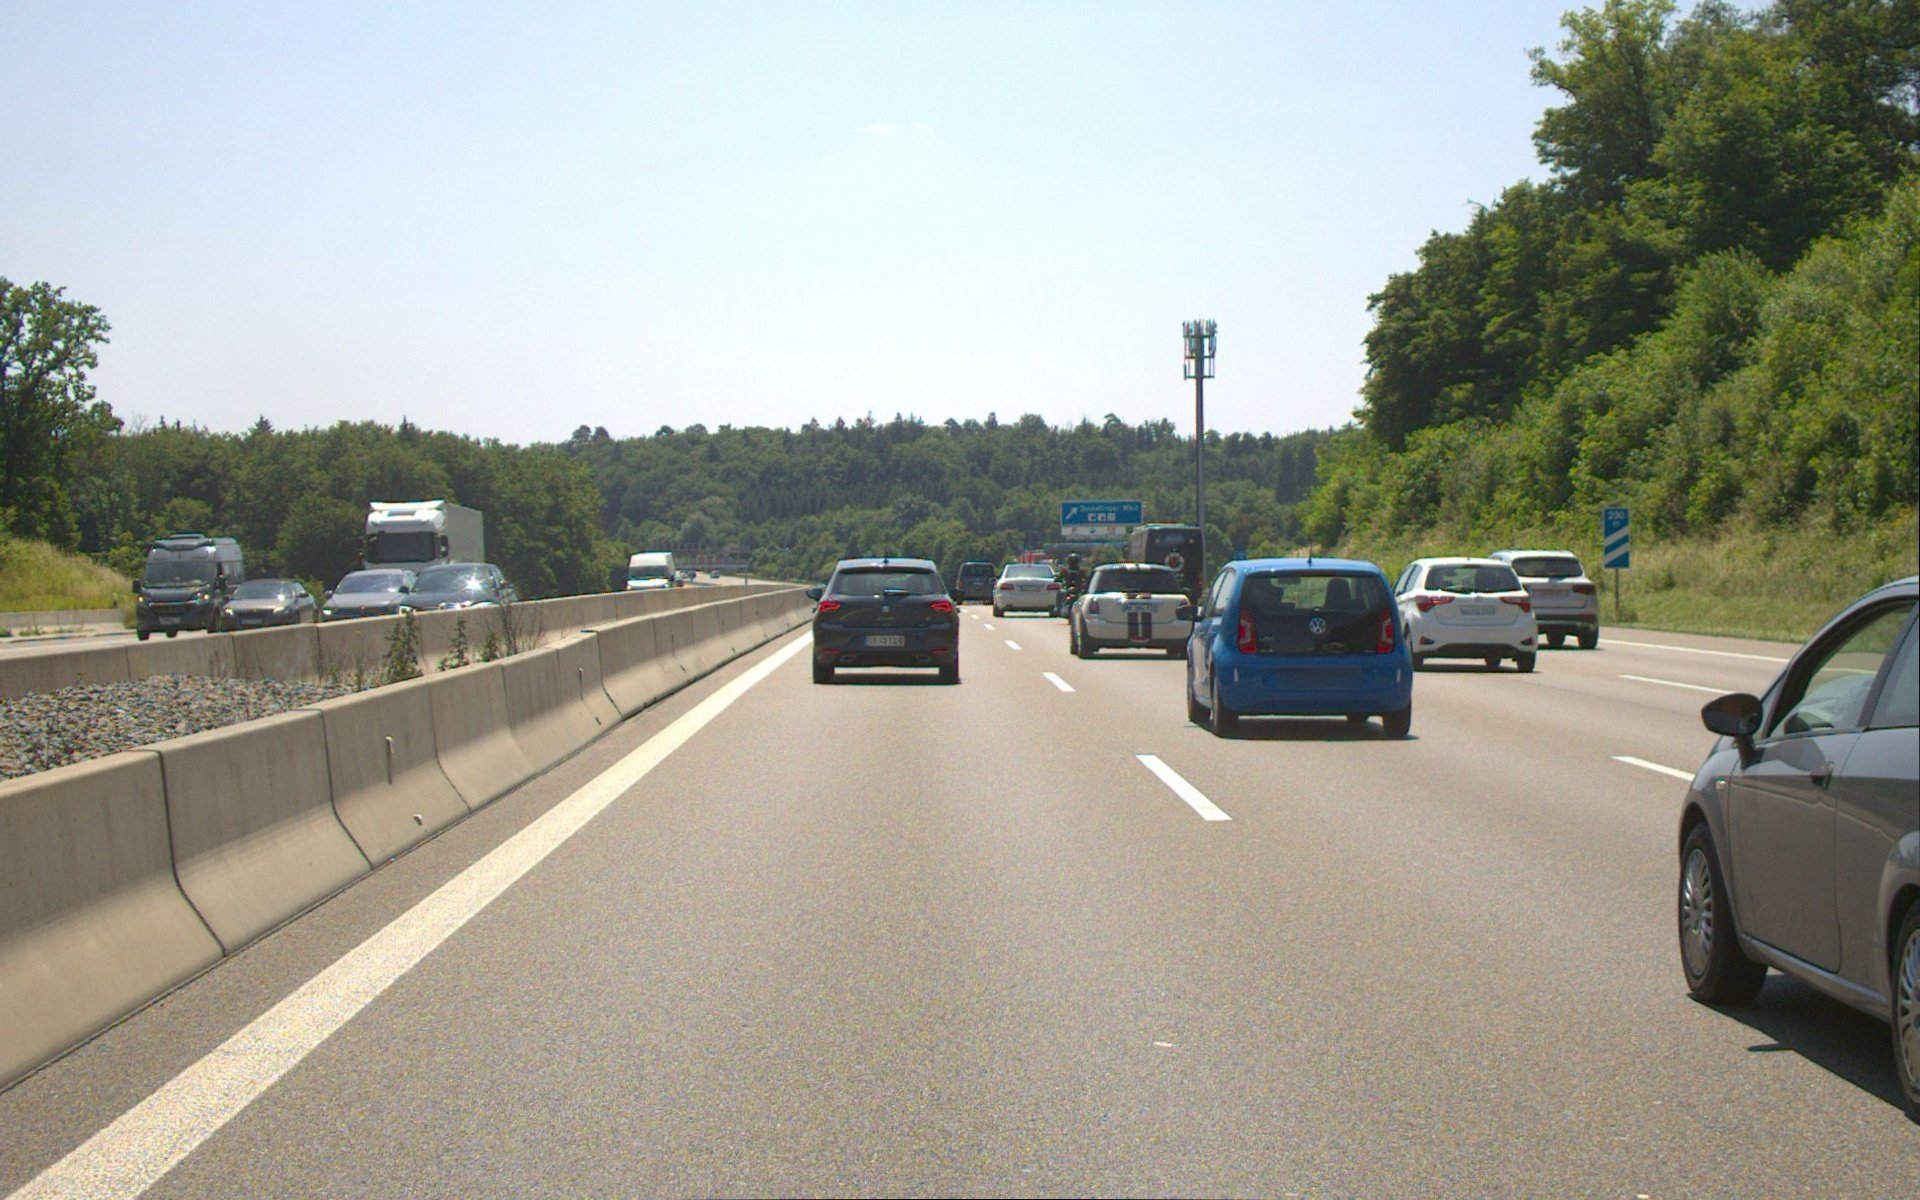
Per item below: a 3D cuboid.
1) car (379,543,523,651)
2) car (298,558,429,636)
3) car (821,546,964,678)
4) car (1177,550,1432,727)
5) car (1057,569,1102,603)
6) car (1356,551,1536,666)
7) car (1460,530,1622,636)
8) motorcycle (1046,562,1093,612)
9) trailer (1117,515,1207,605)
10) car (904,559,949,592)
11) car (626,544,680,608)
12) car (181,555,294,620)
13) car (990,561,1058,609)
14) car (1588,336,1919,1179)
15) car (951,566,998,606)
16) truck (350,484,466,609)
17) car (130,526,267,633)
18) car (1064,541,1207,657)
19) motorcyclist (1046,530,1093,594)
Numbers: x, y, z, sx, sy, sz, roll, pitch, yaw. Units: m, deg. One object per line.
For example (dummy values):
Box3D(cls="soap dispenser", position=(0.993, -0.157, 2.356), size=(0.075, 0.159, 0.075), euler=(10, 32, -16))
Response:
Box3D(cls="car", position=(-8.718, -0.087, 59.223), size=(1.871, 1.771, 4.469), euler=(-1, 1, -1))
Box3D(cls="car", position=(-12.602, -0.036, 72.902), size=(2.027, 1.500, 5.442), euler=(-3, 0, -3))
Box3D(cls="car", position=(-0.784, 0.110, 40.911), size=(1.624, 1.482, 3.685), euler=(0, 1, -1))
Box3D(cls="car", position=(2.883, 0.309, 29.480), size=(1.737, 1.406, 4.000), euler=(0, 0, -1))
Box3D(cls="car", position=(5.157, -0.620, 148.563), size=(1.675, 1.427, 3.685), euler=(-1, 1, -2))
Box3D(cls="car", position=(6.476, 0.082, 46.204), size=(1.666, 1.428, 4.376), euler=(-1, 1, -2))
Box3D(cls="car", position=(9.931, -0.309, 59.114), size=(1.801, 1.725, 5.239), euler=(1, 1, -1))
Box3D(cls="motorcycle", position=(2.523, -0.310, 79.505), size=(0.977, 1.125, 2.271), euler=(-1, 1, -1))
Box3D(cls="trailer", position=(9.023, -1.696, 154.842), size=(2.857, 3.675, 13.542), euler=(-1, -1, -1))
Box3D(cls="car", position=(-1.770, -1.281, 179.983), size=(1.993, 1.678, 4.424), euler=(1, 1, -5))
Box3D(cls="car", position=(-14.334, -1.117, 160.773), size=(2.085, 2.790, 7.603), euler=(-3, 0, -3))
Box3D(cls="car", position=(-16.275, -0.297, 77.621), size=(1.667, 1.402, 4.440), euler=(-1, 1, -1))
Box3D(cls="car", position=(1.726, -0.422, 94.038), size=(1.782, 1.261, 3.460), euler=(-1, 1, 0))
Box3D(cls="car", position=(3.291, 0.344, 10.116), size=(1.961, 2.046, 4.784), euler=(0, 1, -1))
Box3D(cls="car", position=(0.691, -0.685, 164.400), size=(2.097, 1.845, 4.081), euler=(-1, 0, -1))
Box3D(cls="truck", position=(-18.696, -1.817, 116.838), size=(2.894, 4.055, 7.790), euler=(-1, 1, -2))
Box3D(cls="car", position=(-20.114, -0.566, 91.160), size=(2.140, 2.654, 6.780), euler=(-2, 1, -1))
Box3D(cls="car", position=(2.574, -0.045, 51.299), size=(1.841, 1.546, 4.000), euler=(3, 1, 0))
Box3D(cls="motorcyclist", position=(2.535, -0.871, 79.491), size=(0.962, 1.433, 1.235), euler=(-2, 0, -2))
